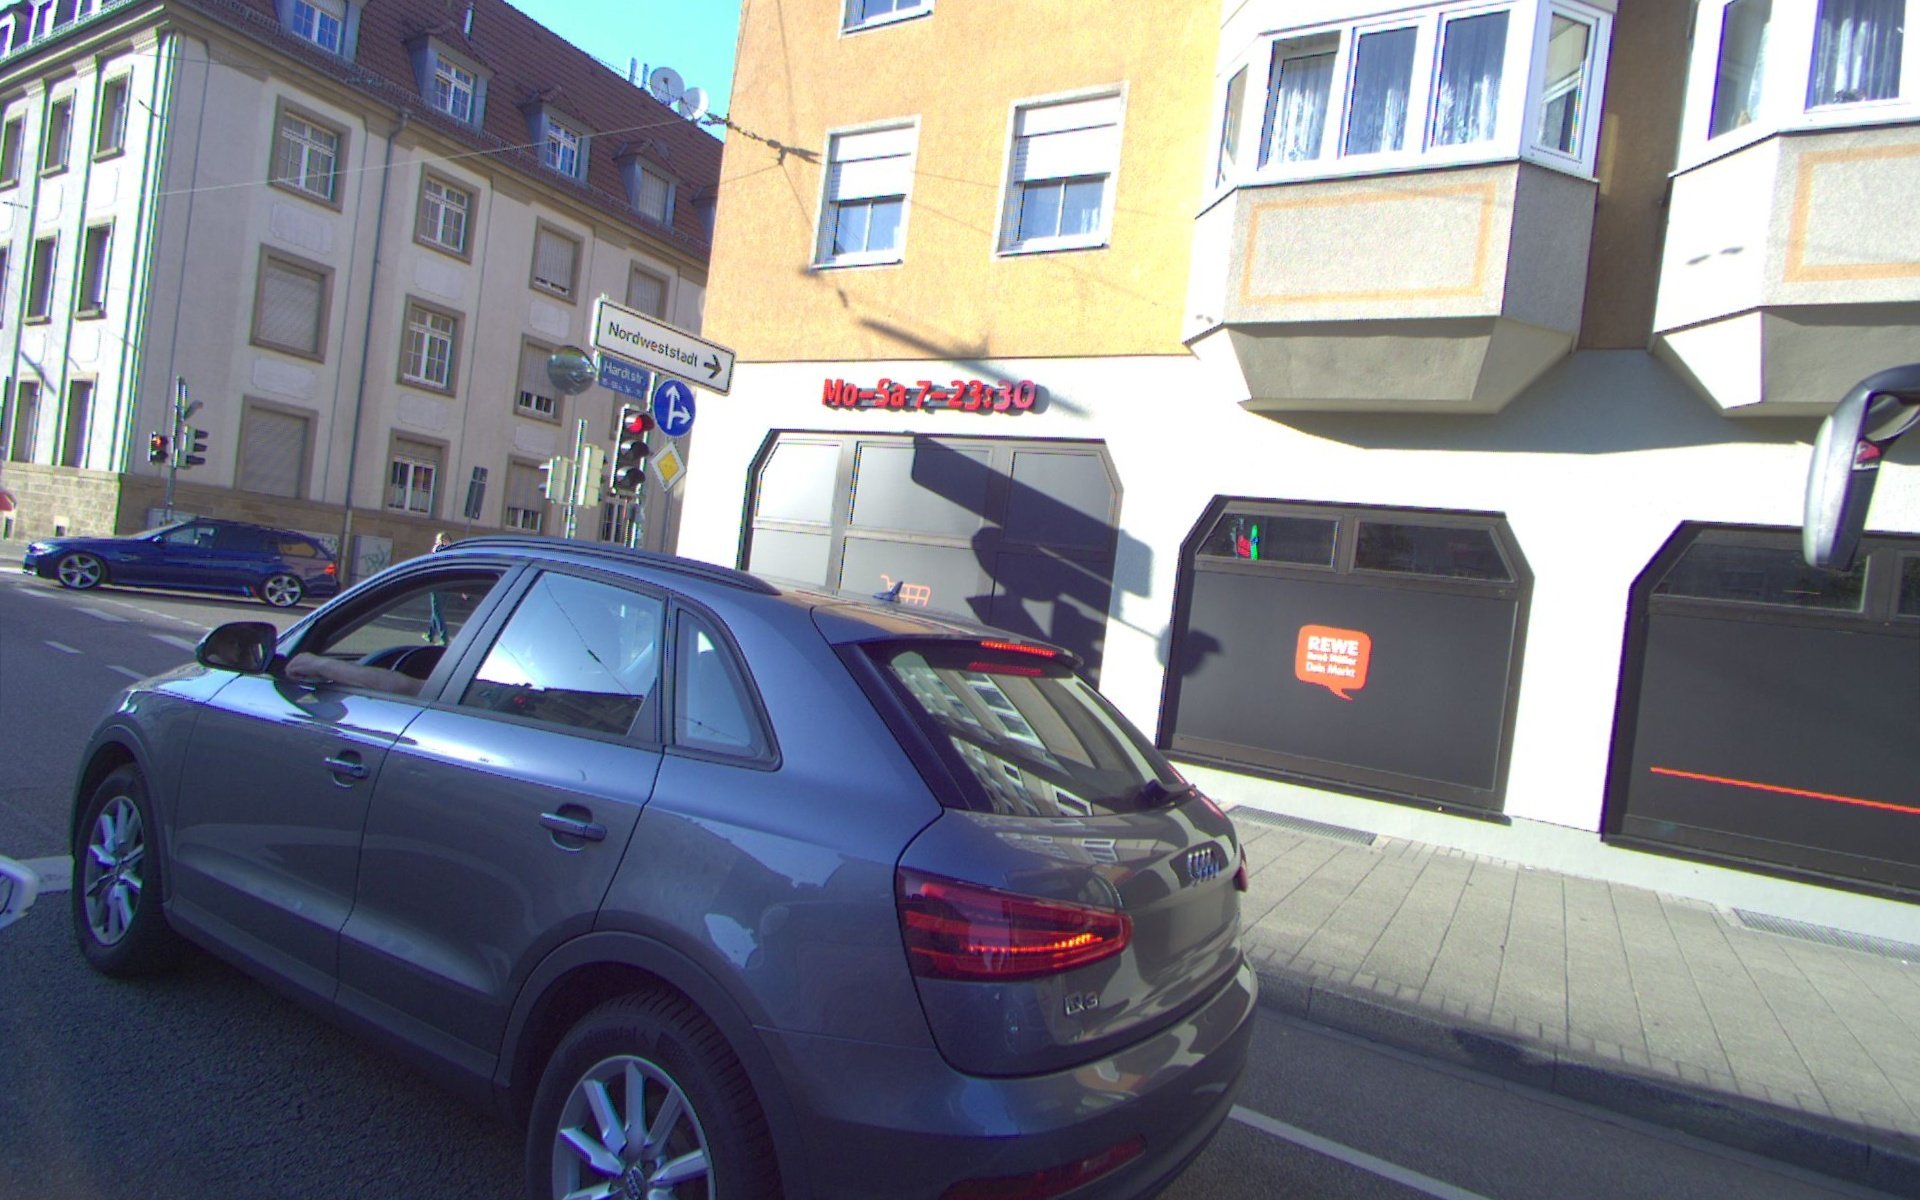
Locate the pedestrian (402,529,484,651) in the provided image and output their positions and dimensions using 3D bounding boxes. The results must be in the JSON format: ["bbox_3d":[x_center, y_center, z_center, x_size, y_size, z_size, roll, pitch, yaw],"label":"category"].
[{"bbox_3d":[-8.096,-0.153,15.753,0.812,1.778,0.630,6,-1,32],"label":"pedestrian"}]

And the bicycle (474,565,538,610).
[{"bbox_3d":[-12.561,-0.336,27.873,1.499,1.029,0.247,9,-2,-43],"label":"bicycle"}]

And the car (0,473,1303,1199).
[{"bbox_3d":[-1.276,0.611,3.321,4.155,1.570,1.701,7,-2,32],"label":"car"}]

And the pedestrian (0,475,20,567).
[{"bbox_3d":[-19.500,-1.632,20.011,0.810,1.783,0.837,6,-1,31],"label":"pedestrian"}]

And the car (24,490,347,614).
[{"bbox_3d":[-13.711,-0.794,18.013,4.301,1.473,1.910,9,-3,-43],"label":"car"}]
